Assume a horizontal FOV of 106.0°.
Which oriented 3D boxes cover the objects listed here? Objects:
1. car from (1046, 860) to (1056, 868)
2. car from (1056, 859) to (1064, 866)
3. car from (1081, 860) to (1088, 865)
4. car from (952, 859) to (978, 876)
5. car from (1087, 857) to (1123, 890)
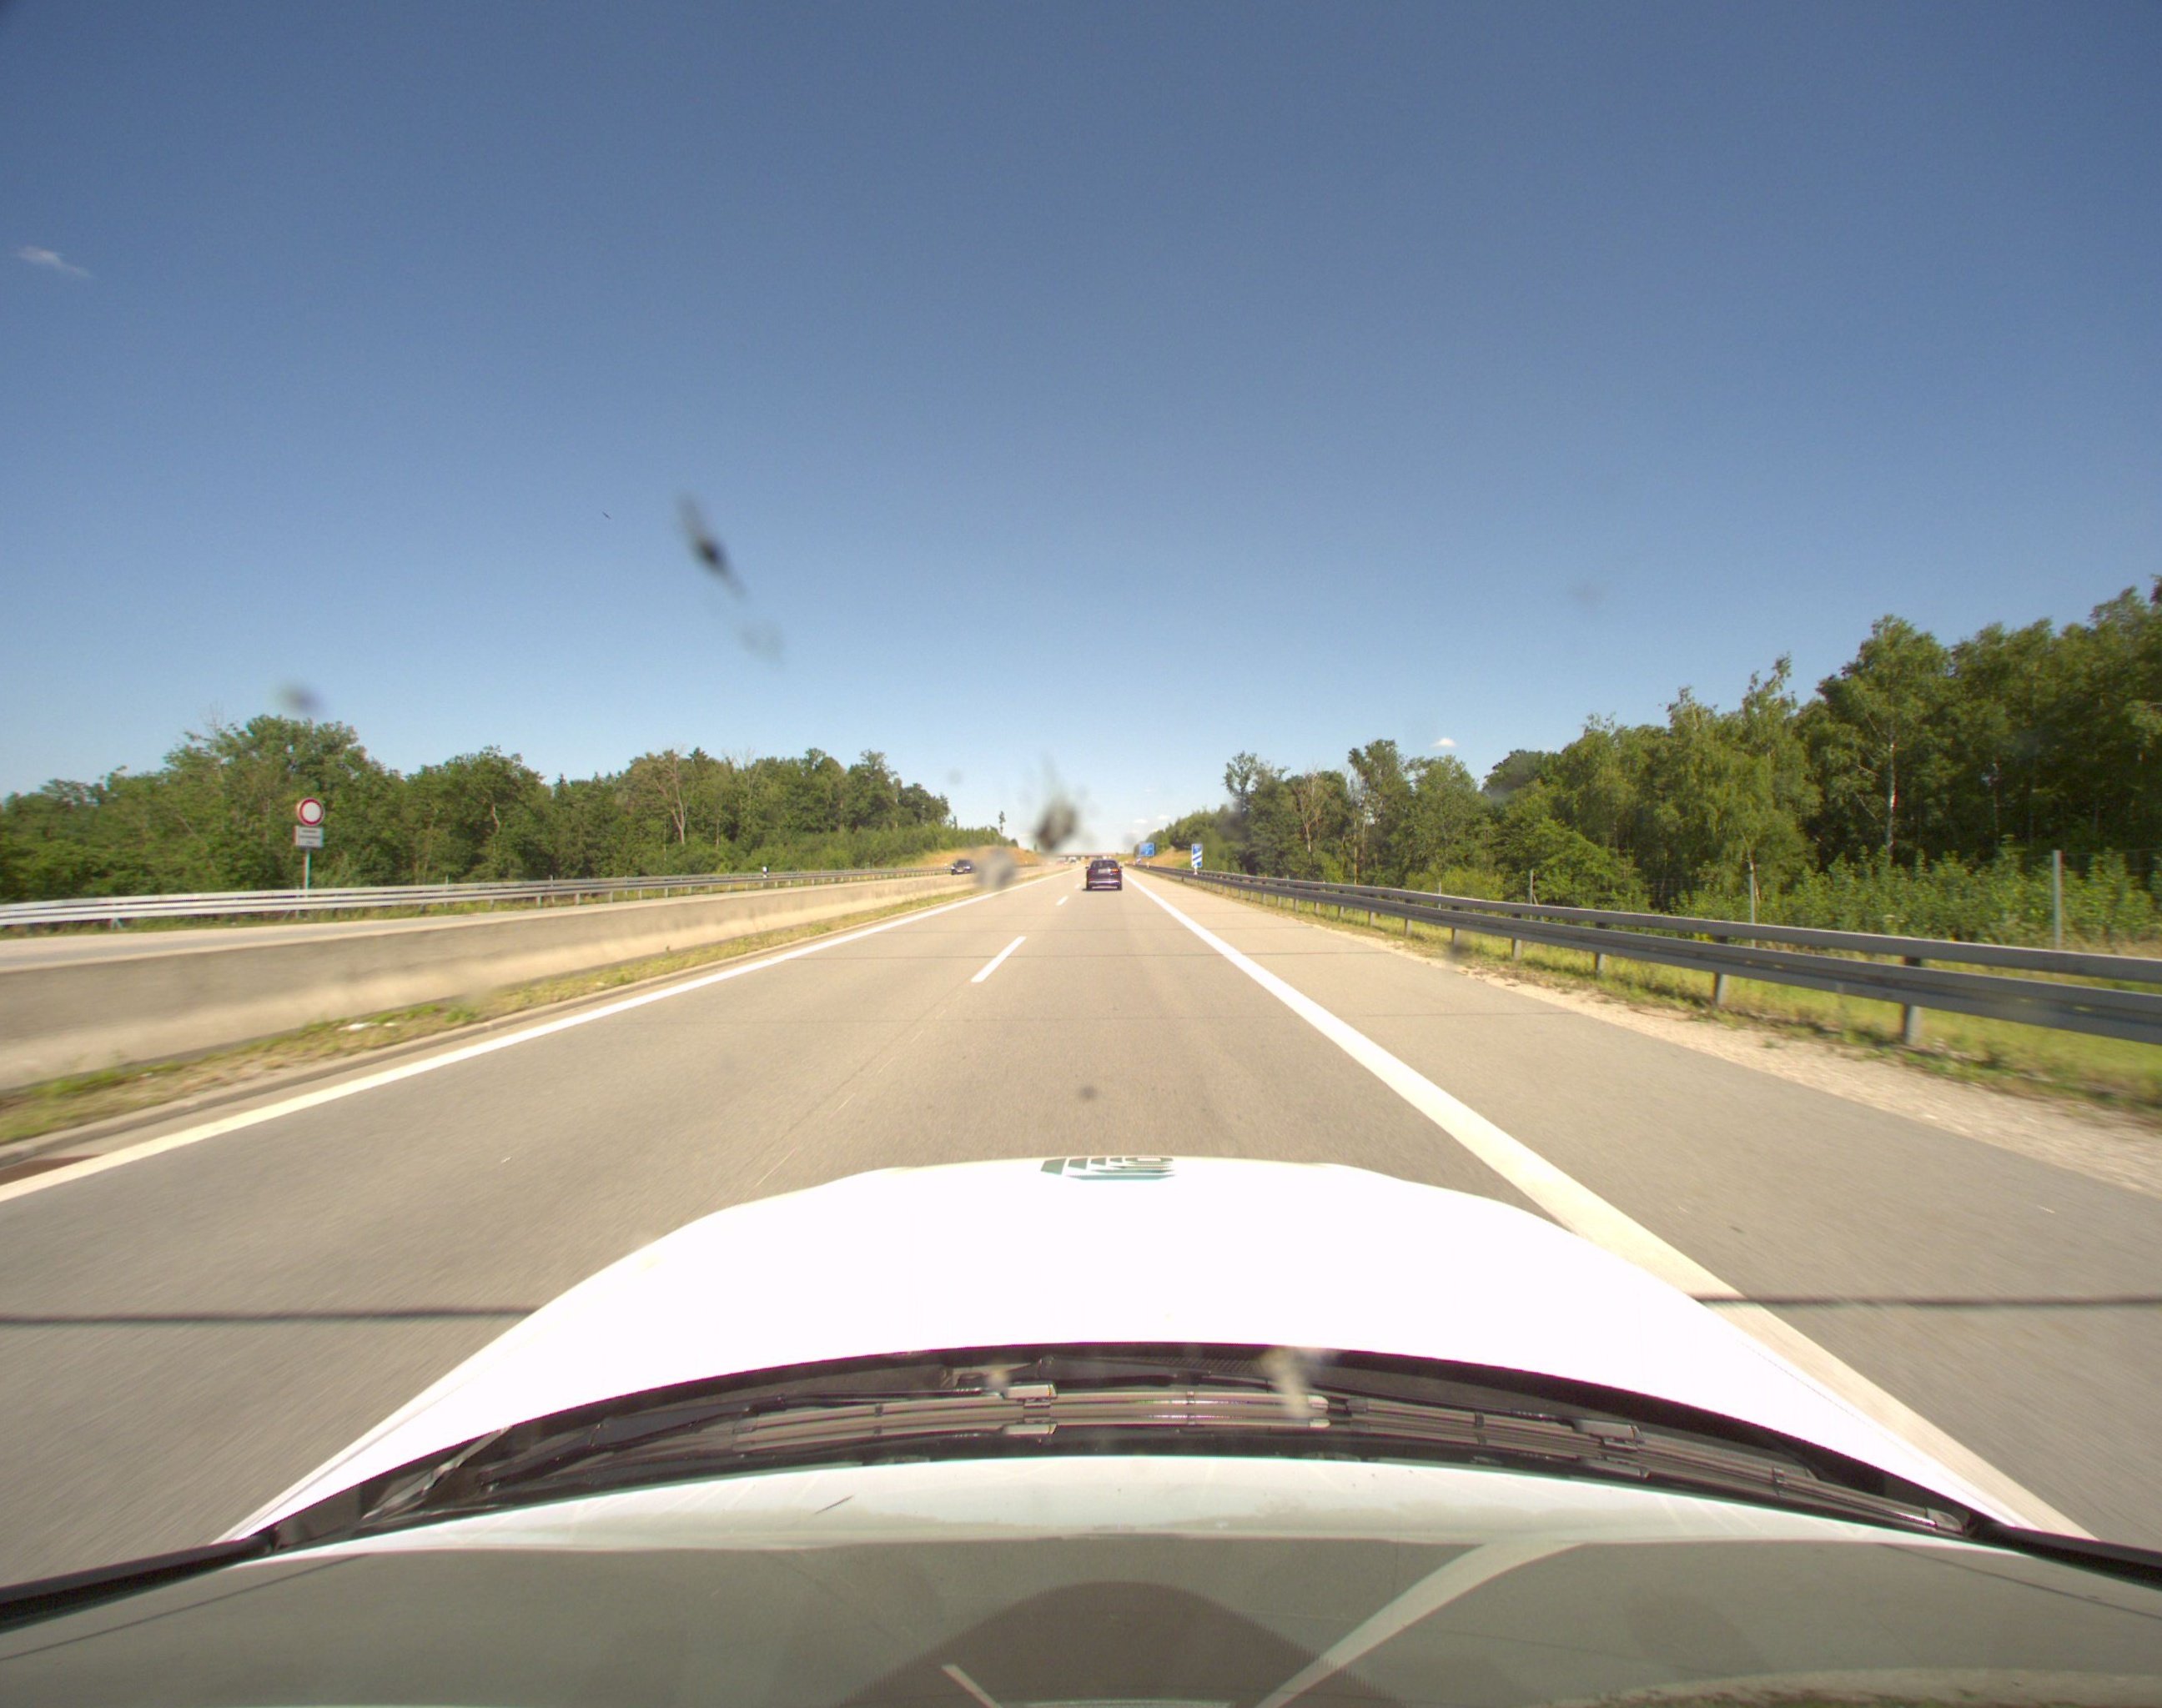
[{"bbox_3d":[-7.990,2.578,216.453,1.986,2.083,6.230,-1,0,2],"label":"car"},{"bbox_3d":[-5.136,1.999,198.461,1.660,1.644,4.891,-1,0,2],"label":"car"},{"bbox_3d":[1.097,2.628,249.187,1.986,1.581,4.651,-1,0,2],"label":"car"},{"bbox_3d":[-11.519,1.332,81.032,1.894,1.691,4.270,-1,0,1],"label":"car"},{"bbox_3d":[1.254,0.958,42.227,1.715,1.588,5.224,-1,0,2],"label":"car"}]
